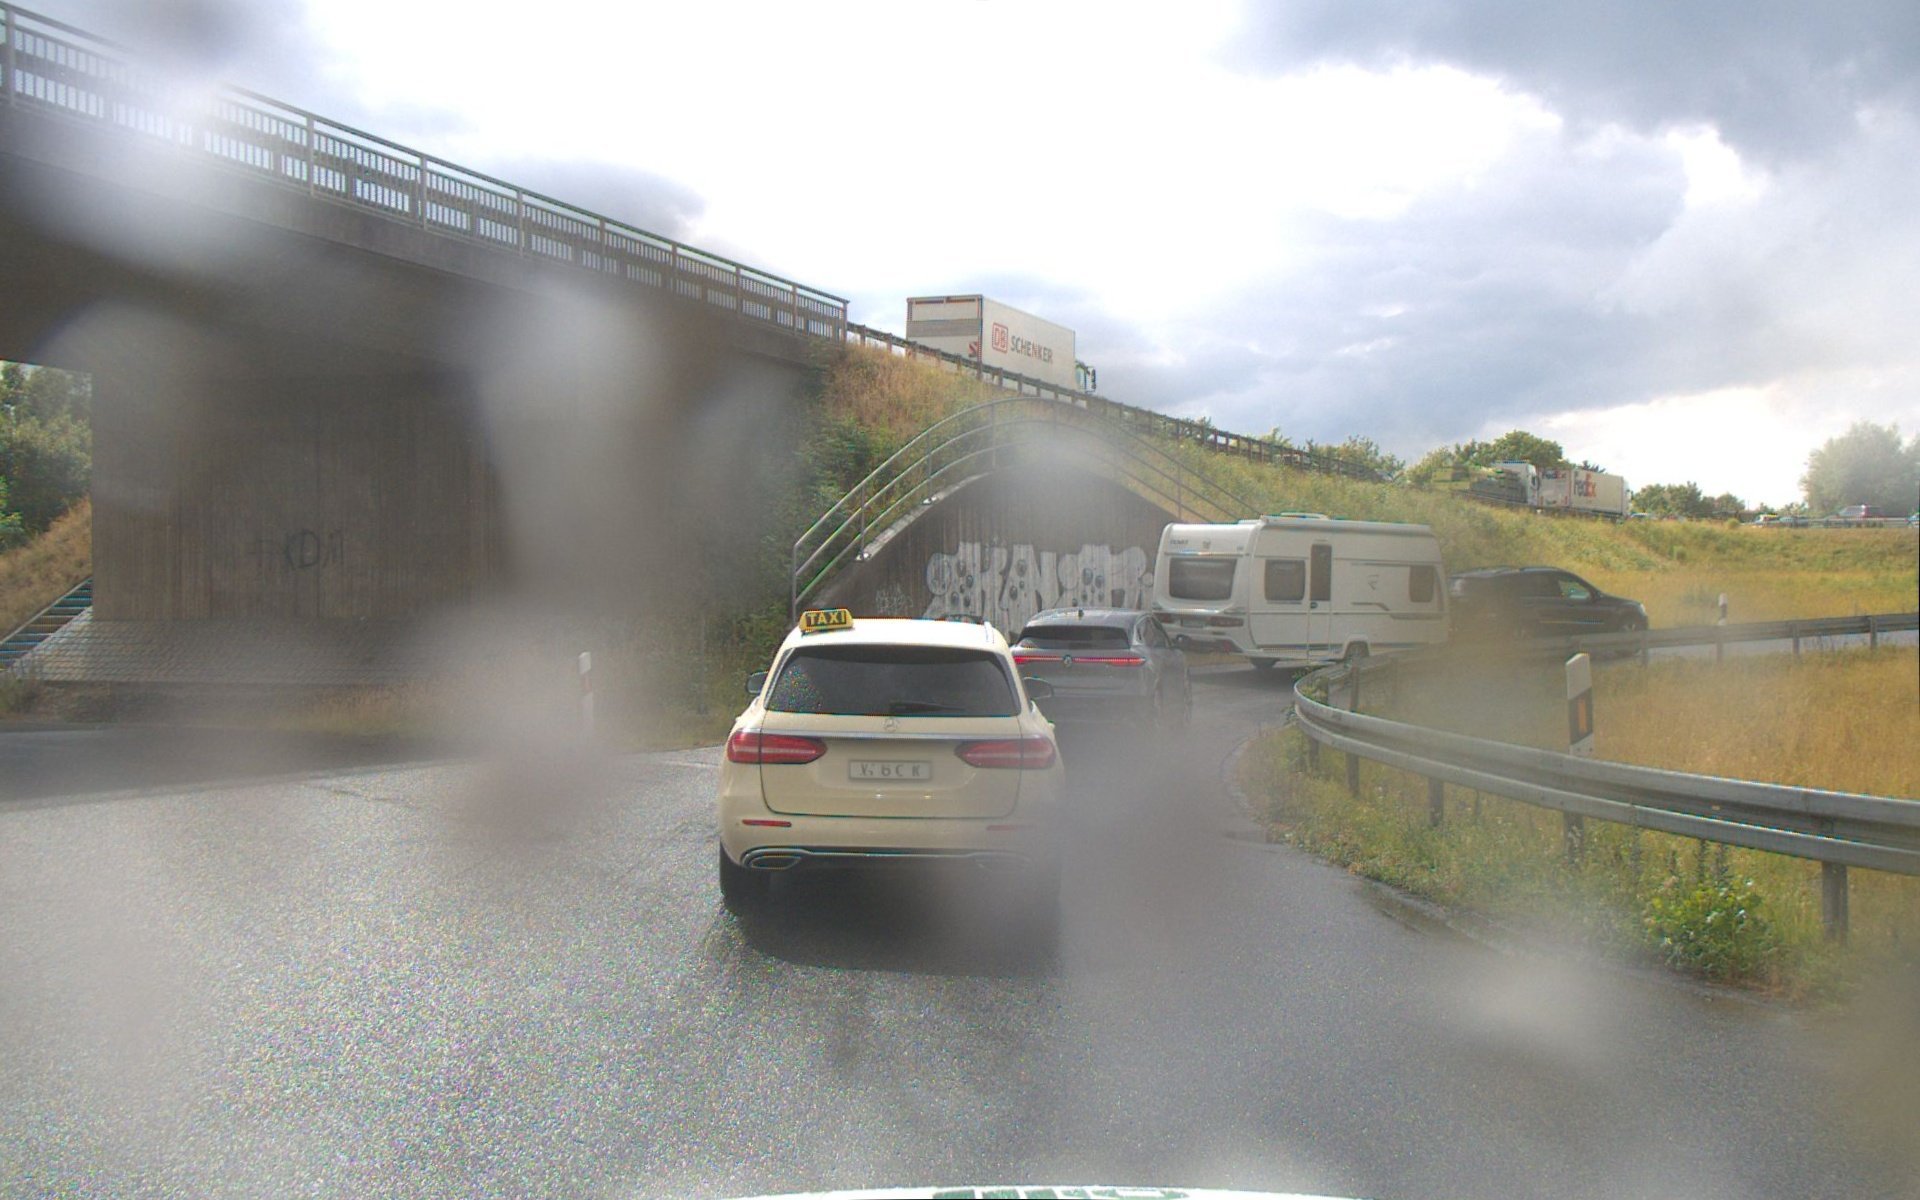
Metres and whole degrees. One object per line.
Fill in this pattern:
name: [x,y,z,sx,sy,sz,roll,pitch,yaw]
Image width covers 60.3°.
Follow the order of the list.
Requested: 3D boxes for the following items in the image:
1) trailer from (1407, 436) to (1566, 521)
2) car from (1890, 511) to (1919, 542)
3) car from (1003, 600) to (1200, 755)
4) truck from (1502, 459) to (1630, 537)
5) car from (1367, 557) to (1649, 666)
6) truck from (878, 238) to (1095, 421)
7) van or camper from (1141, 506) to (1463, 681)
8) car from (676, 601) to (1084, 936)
trailer: [35.199,-7.810,109.514,4.338,4.025,20.147,1,0,35]
car: [67.478,-5.147,115.633,1.965,2.049,3.974,0,0,-22]
car: [1.711,0.802,18.760,1.681,1.551,4.003,0,-1,13]
truck: [46.266,-7.517,125.512,4.384,4.582,19.309,1,0,35]
car: [10.926,0.140,32.812,5.692,1.959,2.407,-1,2,-35]
truck: [1.055,-8.148,51.382,3.118,4.035,9.228,1,0,26]
van or camper: [6.126,-0.185,29.196,5.943,2.777,2.404,-1,2,-39]
car: [-0.296,0.799,9.920,1.876,1.534,4.597,0,-1,2]
